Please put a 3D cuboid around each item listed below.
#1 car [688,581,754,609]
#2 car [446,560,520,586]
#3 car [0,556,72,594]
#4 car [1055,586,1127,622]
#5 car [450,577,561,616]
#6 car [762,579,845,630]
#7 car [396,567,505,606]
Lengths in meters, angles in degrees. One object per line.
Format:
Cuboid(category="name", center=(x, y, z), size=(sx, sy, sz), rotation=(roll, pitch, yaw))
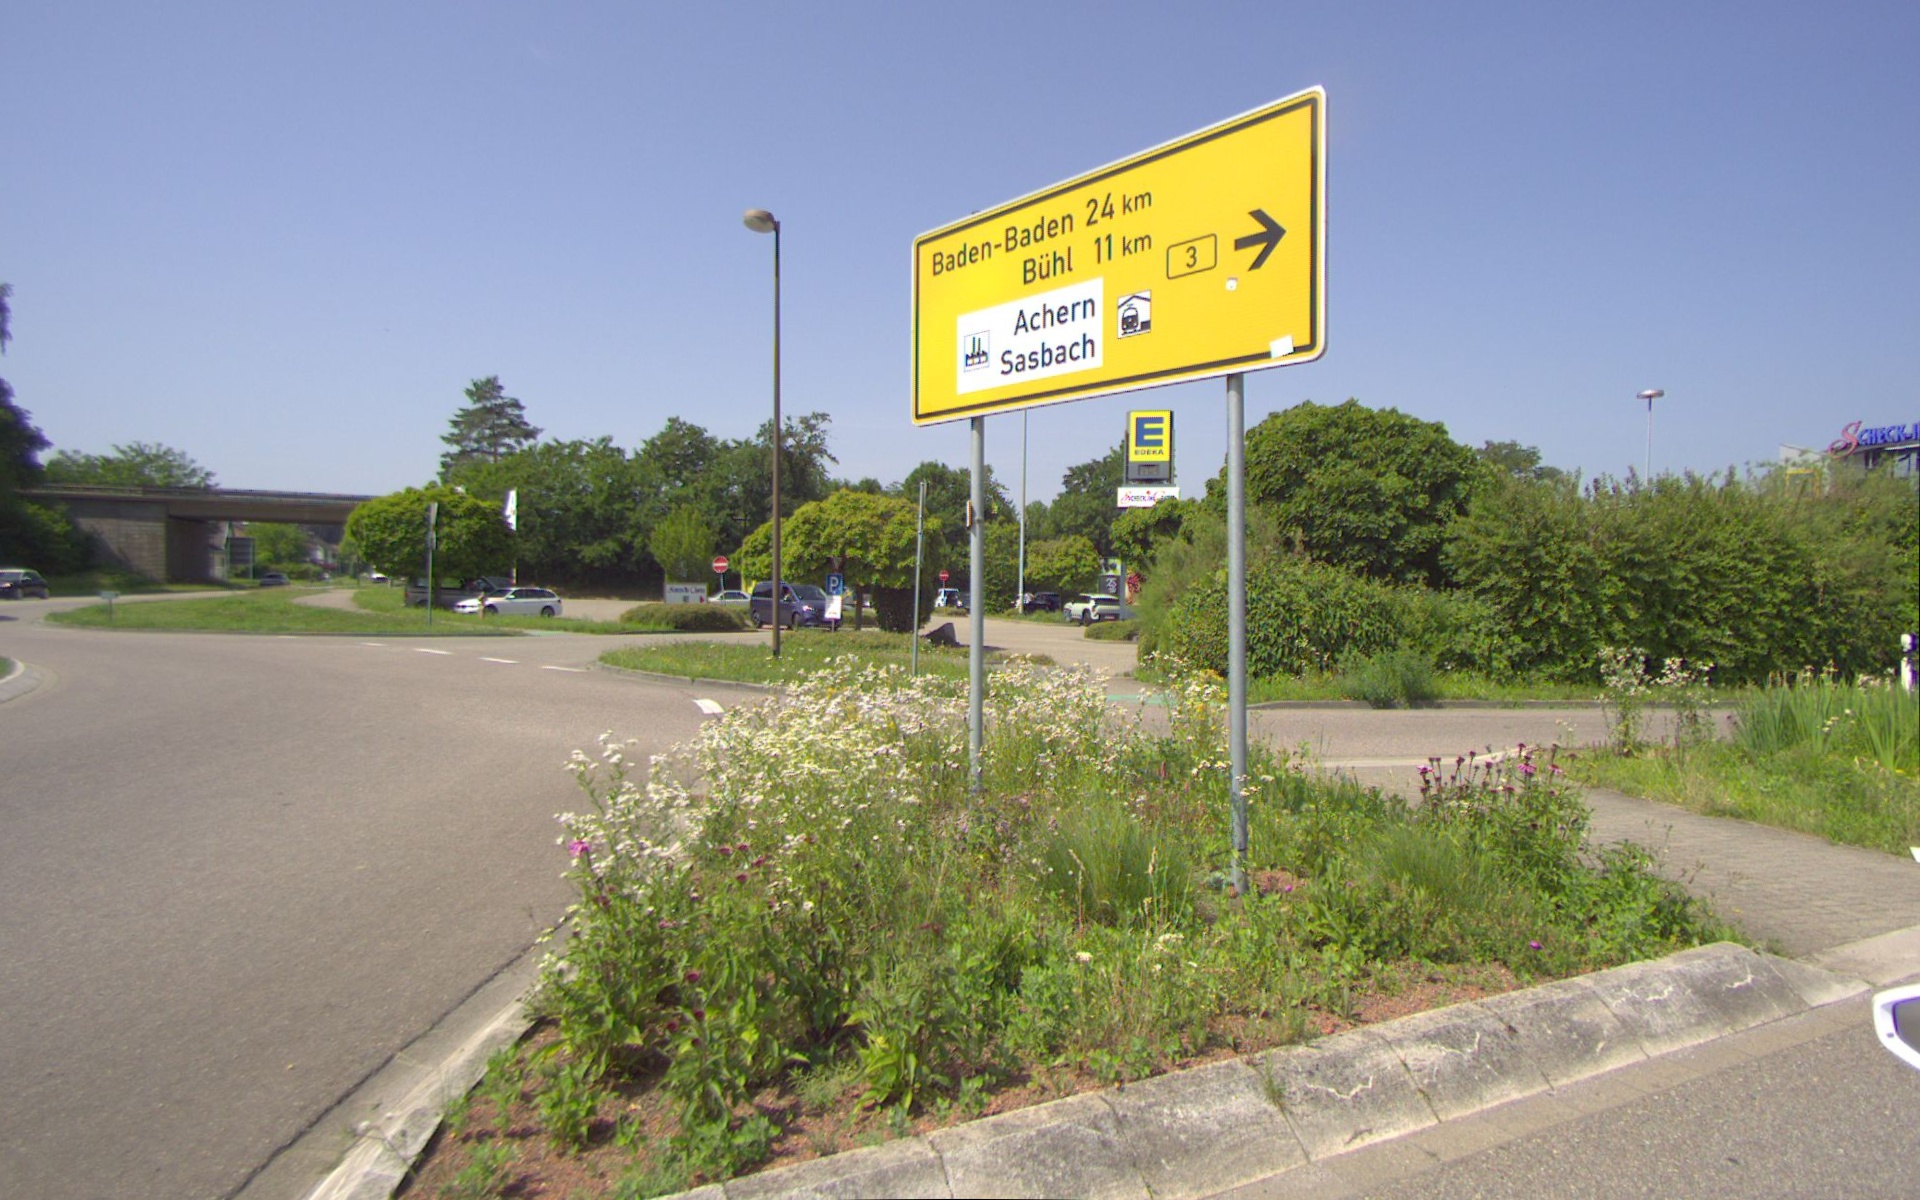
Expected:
Cuboid(category="car", center=(-13.370, -0.289, 56.187), size=(3.424, 1.399, 1.595), rotation=(2, 2, -21))
Cuboid(category="car", center=(-33.590, -1.874, 70.806), size=(4.571, 1.674, 2.018), rotation=(1, 3, -23))
Cuboid(category="car", center=(-45.603, -1.260, 48.882), size=(1.998, 1.674, 4.616), rotation=(1, 2, -20))
Cuboid(category="car", center=(6.445, 0.151, 49.860), size=(1.948, 1.537, 3.982), rotation=(2, 2, -19))
Cuboid(category="car", center=(-19.395, -0.184, 43.086), size=(1.554, 1.518, 4.564), rotation=(3, 2, 21))
Cuboid(category="car", center=(-6.308, 0.146, 40.117), size=(1.977, 1.818, 3.967), rotation=(1, 2, -30))
Cuboid(category="car", center=(-23.222, -0.602, 45.932), size=(4.348, 1.582, 1.864), rotation=(2, 2, -26))
